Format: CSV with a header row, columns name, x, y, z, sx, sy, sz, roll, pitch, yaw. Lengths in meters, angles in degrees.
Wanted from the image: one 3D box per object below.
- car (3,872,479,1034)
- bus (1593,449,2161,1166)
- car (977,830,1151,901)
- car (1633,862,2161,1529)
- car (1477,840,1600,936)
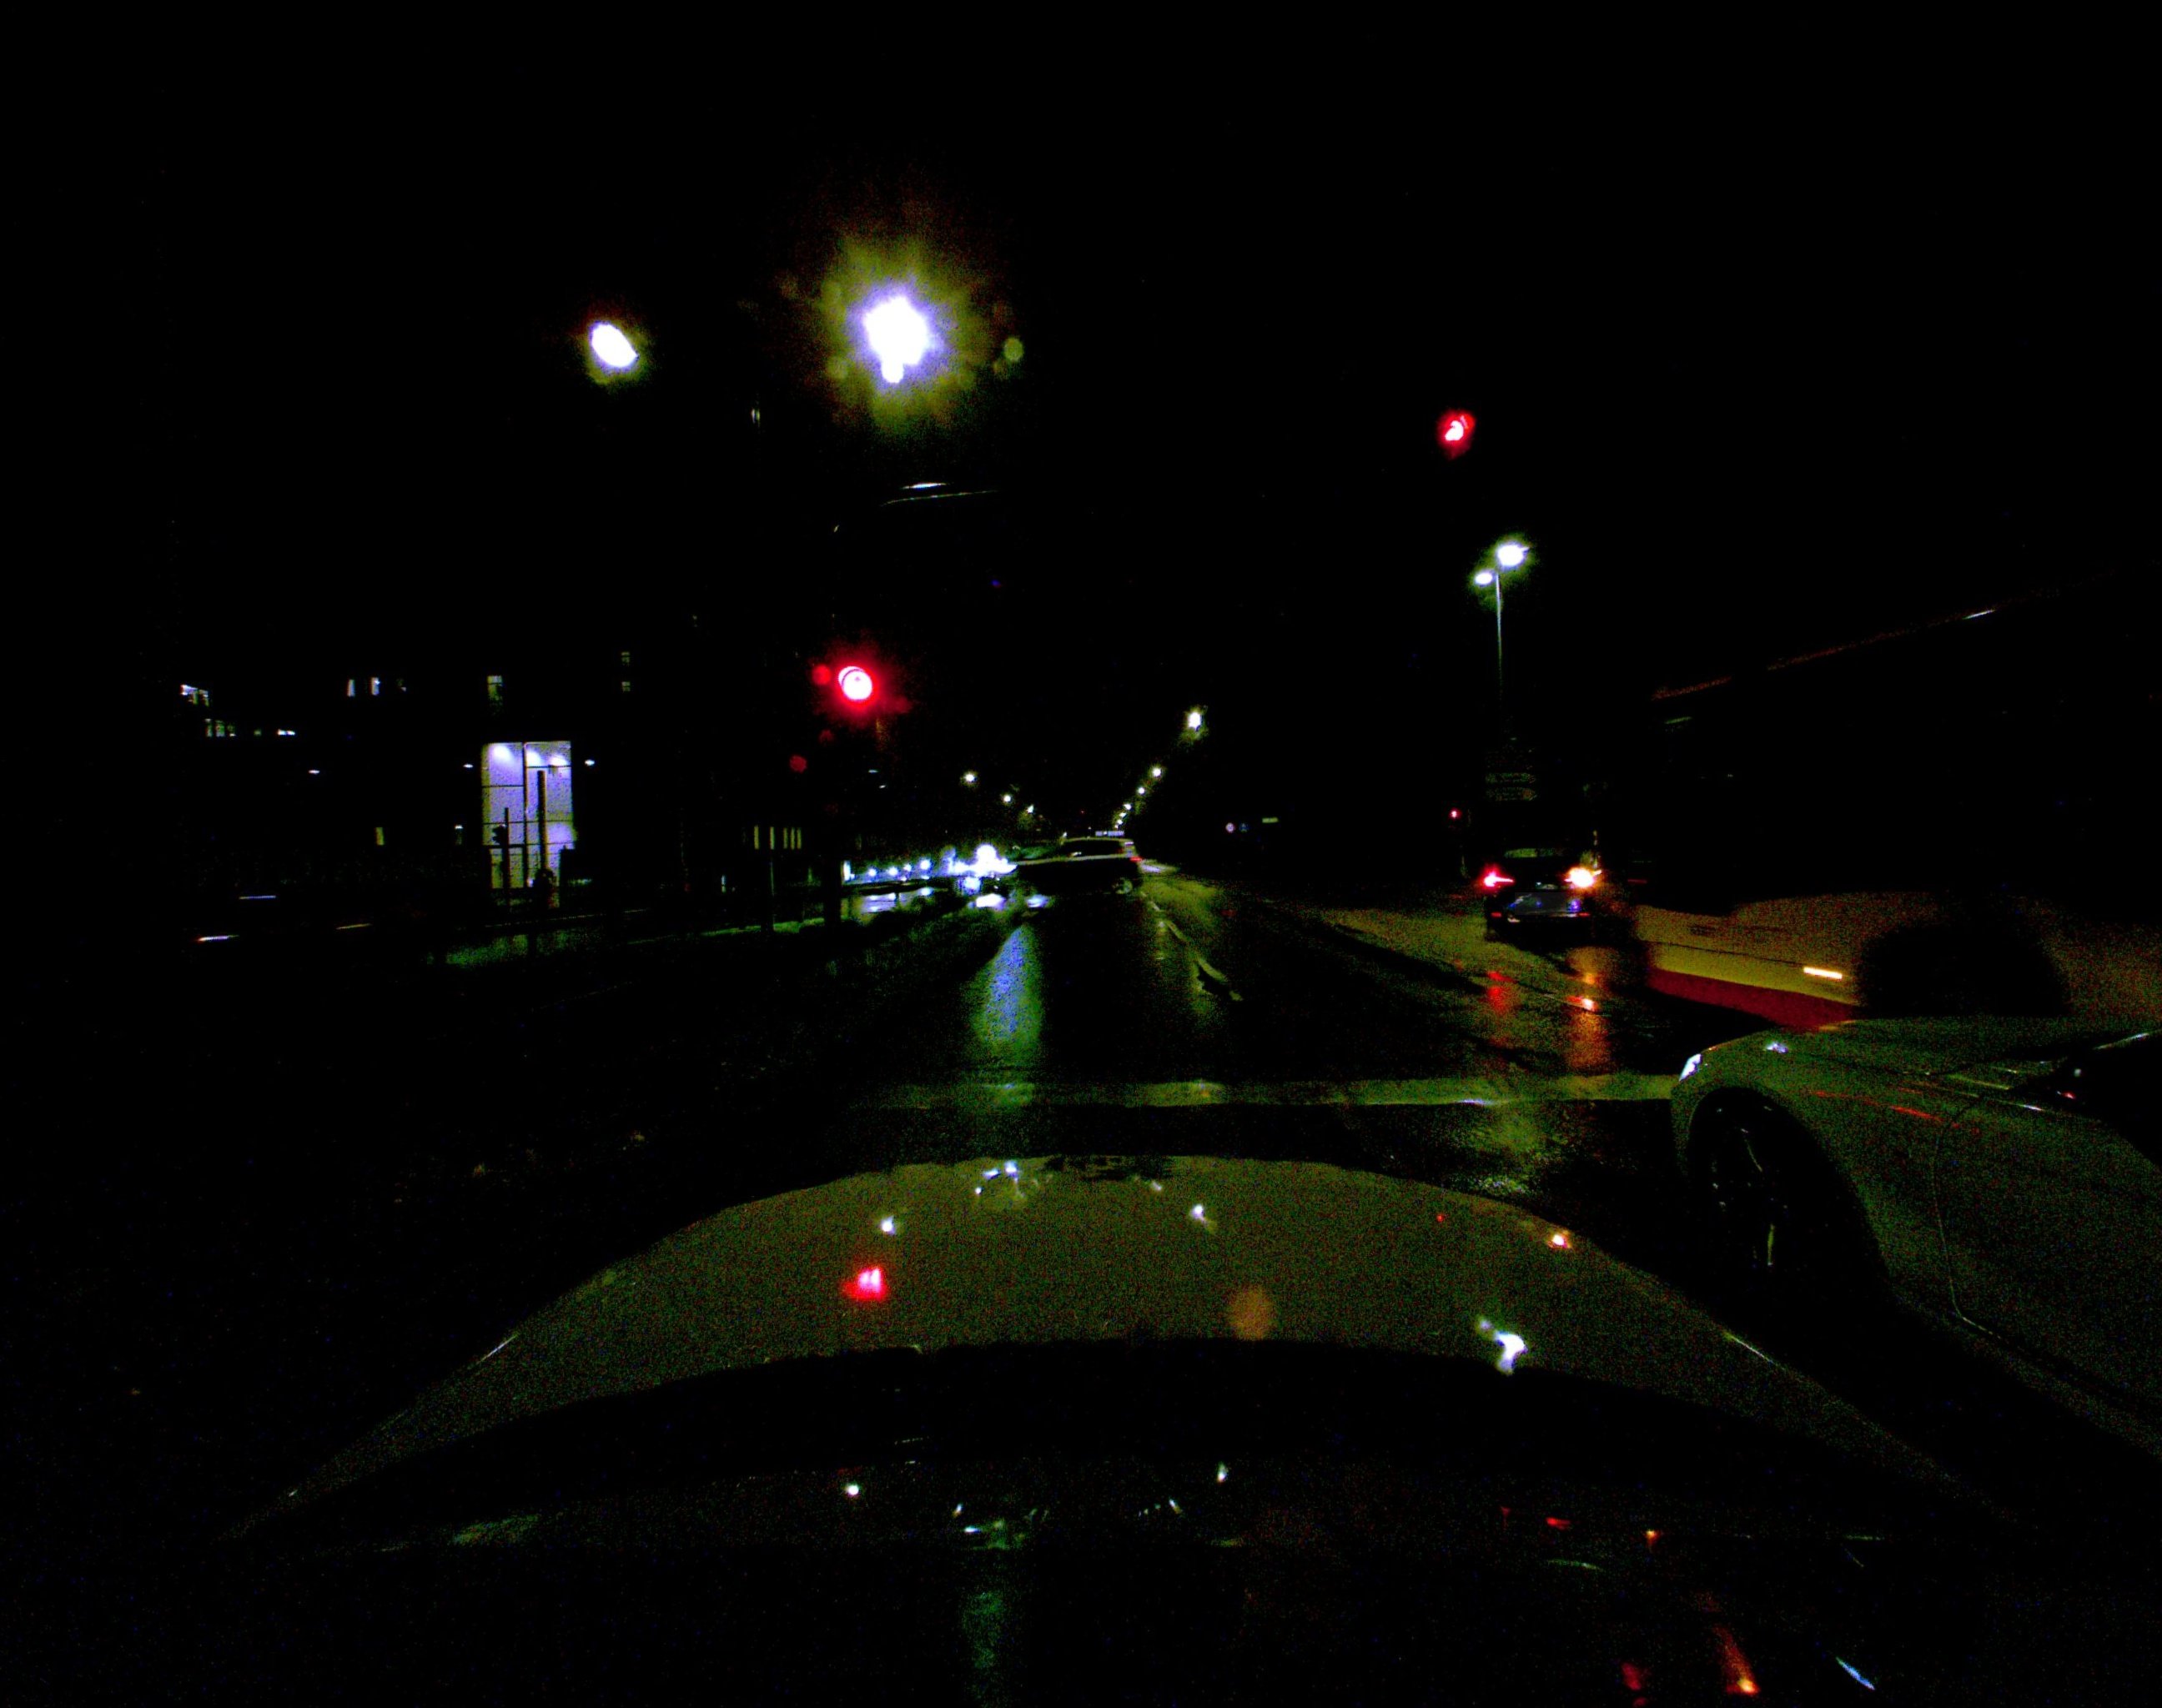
name,x,y,z,sx,sy,sz,roll,pitch,yaw
car,-11.116,1.195,11.282,1.892,1.588,4.097,-3,1,13
bus,6.094,-0.207,2.585,2.760,3.123,9.759,0,0,0
car,-0.528,0.327,25.797,5.116,1.984,1.984,-2,0,-24
car,3.130,0.722,1.255,1.710,1.404,4.351,0,-1,2
car,8.377,0.515,14.946,1.733,1.430,3.784,0,2,30
